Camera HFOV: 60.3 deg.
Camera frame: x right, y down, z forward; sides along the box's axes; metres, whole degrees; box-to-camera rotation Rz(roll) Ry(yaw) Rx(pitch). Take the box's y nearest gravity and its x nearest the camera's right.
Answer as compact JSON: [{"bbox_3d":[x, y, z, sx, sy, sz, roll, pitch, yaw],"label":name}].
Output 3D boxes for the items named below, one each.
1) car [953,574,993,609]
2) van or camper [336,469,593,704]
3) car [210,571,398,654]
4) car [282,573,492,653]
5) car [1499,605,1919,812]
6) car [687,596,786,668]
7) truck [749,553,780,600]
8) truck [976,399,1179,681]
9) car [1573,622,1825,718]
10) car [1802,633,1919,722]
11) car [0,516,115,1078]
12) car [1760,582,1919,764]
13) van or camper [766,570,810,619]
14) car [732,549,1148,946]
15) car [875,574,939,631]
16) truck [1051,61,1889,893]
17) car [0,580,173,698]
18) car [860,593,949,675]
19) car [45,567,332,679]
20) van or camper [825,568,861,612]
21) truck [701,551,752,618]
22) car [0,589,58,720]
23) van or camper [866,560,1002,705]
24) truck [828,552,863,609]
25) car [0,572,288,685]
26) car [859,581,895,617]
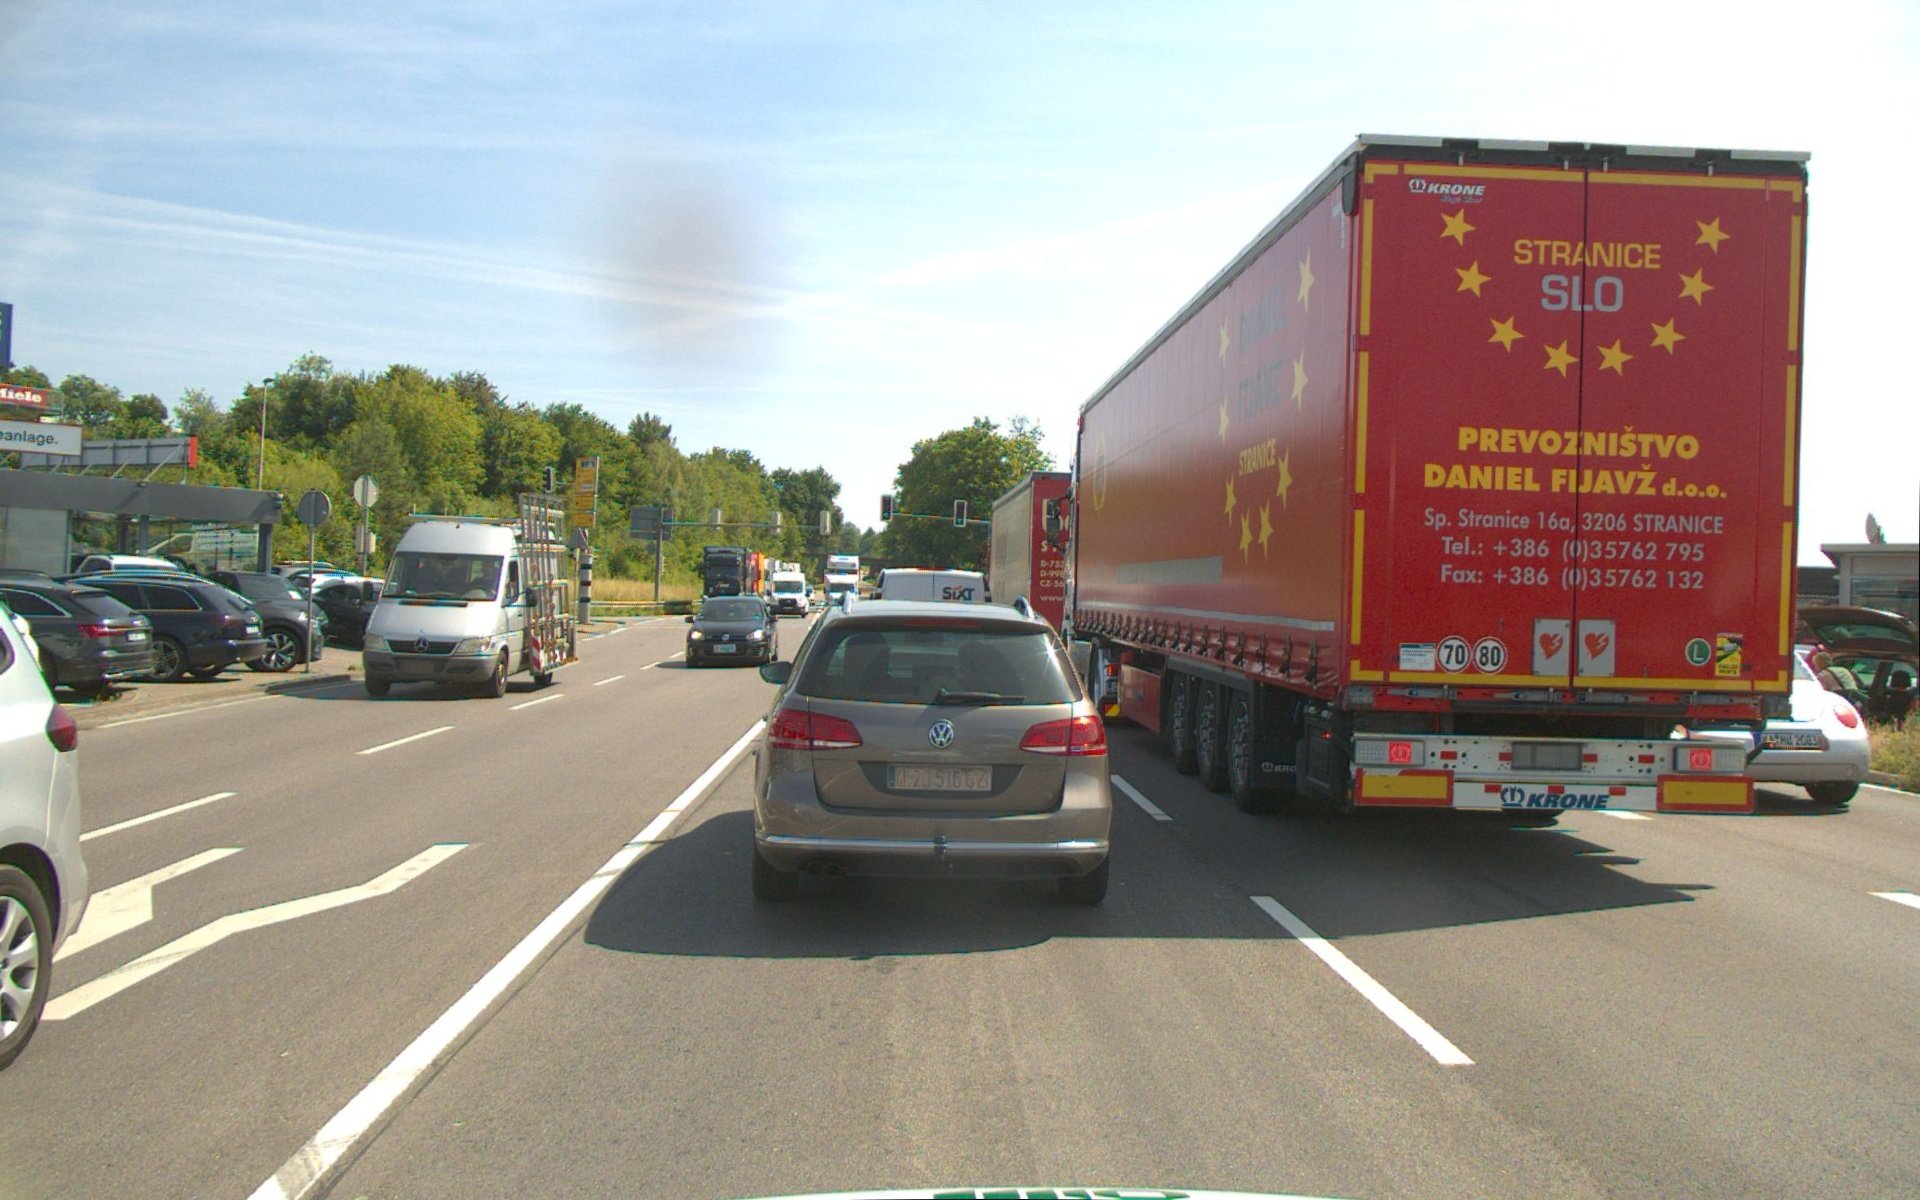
[{"bbox_3d":[0.593,-0.368,77.611,1.692,1.545,3.310,2,-1,-3],"label":"car"},{"bbox_3d":[-7.345,-0.189,25.289,2.162,3.109,5.901,2,0,-1],"label":"van or camper"},{"bbox_3d":[-14.349,0.239,36.168,3.743,1.723,1.840,1,0,27],"label":"car"},{"bbox_3d":[-13.148,0.265,37.920,4.427,1.723,2.128,1,0,28],"label":"car"},{"bbox_3d":[6.262,0.809,14.254,1.627,1.497,3.995,0,0,-5],"label":"car"},{"bbox_3d":[-4.734,0.639,35.518,1.632,1.434,3.925,-1,0,-1],"label":"car"},{"bbox_3d":[-16.610,-2.002,140.980,2.484,3.852,6.981,0,0,-6],"label":"truck"},{"bbox_3d":[2.327,-1.188,40.023,3.001,5.312,17.000,1,0,-2],"label":"truck"},{"bbox_3d":[13.887,1.273,31.283,1.973,1.558,3.959,2,0,-30],"label":"car"},{"bbox_3d":[18.148,1.460,32.468,1.964,1.558,3.977,2,0,41],"label":"car"},{"bbox_3d":[-3.814,0.607,3.561,1.870,1.692,4.180,-1,0,-1],"label":"car"},{"bbox_3d":[11.424,0.820,19.448,3.788,1.954,1.688,1,0,-27],"label":"car"},{"bbox_3d":[-9.496,-0.304,91.727,2.130,2.596,4.168,1,0,-3],"label":"van or camper"},{"bbox_3d":[-0.050,0.625,8.764,1.753,1.667,3.504,0,0,1],"label":"car"},{"bbox_3d":[-1.517,0.087,48.095,1.691,1.545,3.312,2,-1,0],"label":"car"},{"bbox_3d":[3.182,-0.684,17.073,2.898,4.344,16.577,1,0,-2],"label":"truck"},{"bbox_3d":[-12.578,0.474,21.554,3.740,1.473,1.841,1,0,-3],"label":"car"},{"bbox_3d":[-1.090,0.675,33.698,1.692,1.545,3.311,2,-1,-1],"label":"car"},{"bbox_3d":[-12.368,0.359,26.705,3.740,1.704,1.841,1,0,-3],"label":"car"},{"bbox_3d":[-8.084,-0.638,114.829,2.179,2.890,5.708,2,-1,-2],"label":"van or camper"},{"bbox_3d":[-13.951,-0.909,99.278,2.758,3.852,6.981,0,0,-6],"label":"truck"},{"bbox_3d":[-12.681,0.595,18.856,3.740,1.473,1.841,1,0,-3],"label":"car"},{"bbox_3d":[-0.436,0.435,24.532,1.815,1.939,3.783,1,0,-3],"label":"van or camper"},{"bbox_3d":[-8.936,-1.507,129.591,2.501,4.383,7.592,0,0,-2],"label":"truck"},{"bbox_3d":[-12.155,0.405,24.377,3.740,1.566,1.841,1,0,-3],"label":"car"},{"bbox_3d":[-4.621,-0.025,92.396,1.691,1.942,3.312,1,-1,1],"label":"car"}]
